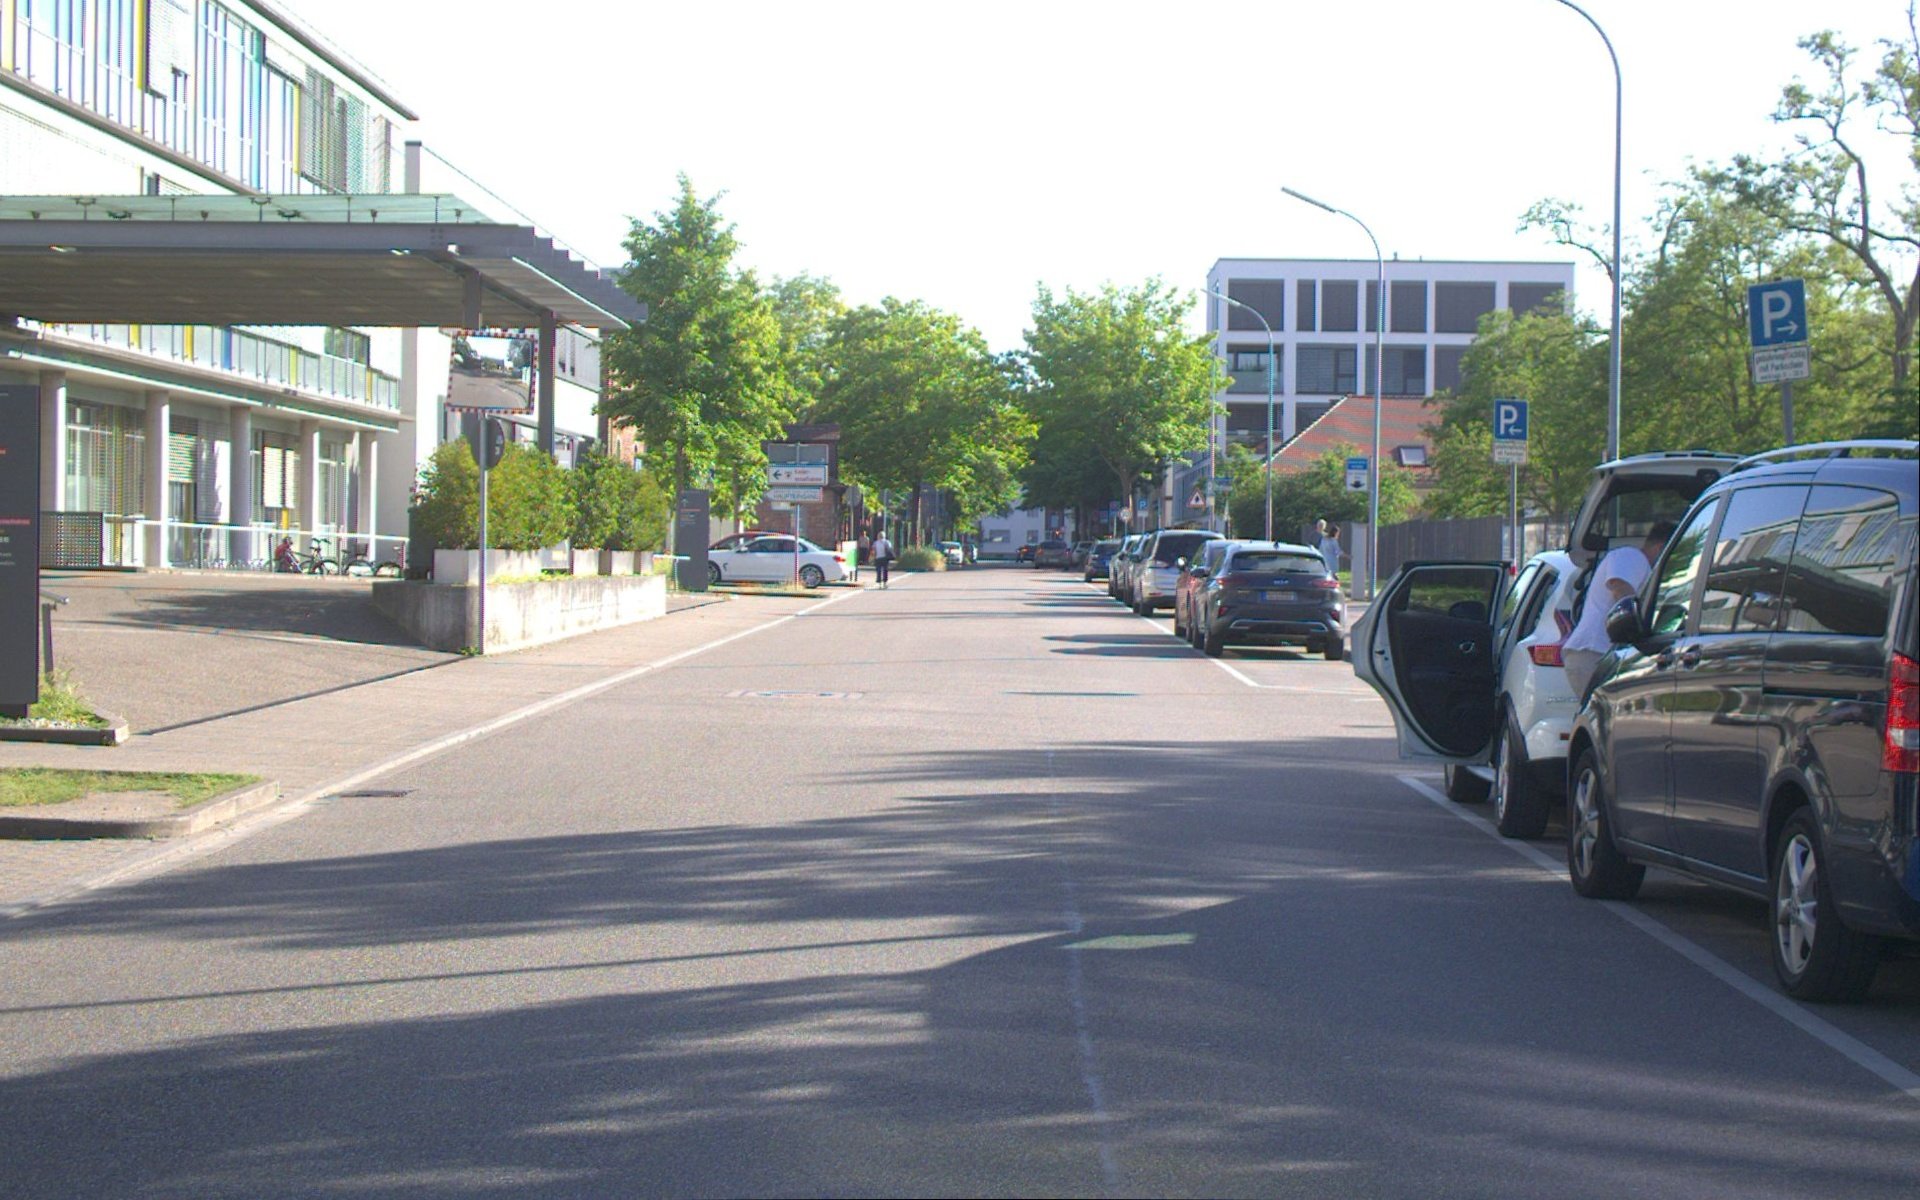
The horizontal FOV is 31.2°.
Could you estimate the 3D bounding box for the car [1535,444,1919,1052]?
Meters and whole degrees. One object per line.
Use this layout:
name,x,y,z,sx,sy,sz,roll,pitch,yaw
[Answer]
car,3.671,0.430,13.088,1.864,1.863,5.023,2,1,-2

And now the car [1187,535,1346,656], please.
car,4.073,-0.097,46.295,1.701,1.482,4.215,2,1,0

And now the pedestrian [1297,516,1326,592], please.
pedestrian,7.928,-1.038,77.538,0.521,1.702,0.522,3,0,-1

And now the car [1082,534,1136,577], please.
car,5.128,-1.560,119.049,1.818,1.448,4.214,1,1,2

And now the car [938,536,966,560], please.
car,-0.512,-3.312,220.123,1.767,1.482,4.000,1,1,0

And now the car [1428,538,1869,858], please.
car,3.704,0.449,19.157,1.664,1.508,4.114,2,1,1

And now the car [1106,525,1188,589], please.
car,4.939,-1.150,91.296,1.813,1.583,4.262,2,1,-1

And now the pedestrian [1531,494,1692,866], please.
pedestrian,3.176,0.375,16.733,0.589,1.740,0.704,3,1,19

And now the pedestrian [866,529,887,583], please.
pedestrian,-2.345,-1.230,96.024,0.538,1.518,0.607,1,1,2

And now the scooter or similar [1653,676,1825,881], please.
scooter or similar,3.751,0.846,16.528,0.692,0.903,0.704,3,1,19

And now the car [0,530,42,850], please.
car,-6.457,0.432,15.550,4.131,1.461,1.754,0,1,0

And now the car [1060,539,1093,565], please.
car,7.099,-2.918,209.330,1.950,1.573,3.836,1,1,2

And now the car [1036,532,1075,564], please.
car,4.722,-2.566,170.378,1.767,1.543,4.066,1,1,0

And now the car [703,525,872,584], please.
car,-4.725,-1.247,94.016,4.511,1.362,1.700,3,1,-4

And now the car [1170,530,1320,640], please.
car,4.267,-0.260,52.074,1.809,1.505,4.722,2,1,0

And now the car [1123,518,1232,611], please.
car,4.296,-0.727,68.429,1.809,1.716,4.704,2,1,0

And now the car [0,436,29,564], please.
car,-15.069,-1.462,49.678,1.919,1.884,4.711,1,1,1

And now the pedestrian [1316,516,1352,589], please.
pedestrian,8.358,-1.056,76.843,0.681,1.606,0.541,3,0,-1

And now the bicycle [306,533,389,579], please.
bicycle,-13.438,-0.978,75.461,1.715,0.990,0.536,0,1,0
